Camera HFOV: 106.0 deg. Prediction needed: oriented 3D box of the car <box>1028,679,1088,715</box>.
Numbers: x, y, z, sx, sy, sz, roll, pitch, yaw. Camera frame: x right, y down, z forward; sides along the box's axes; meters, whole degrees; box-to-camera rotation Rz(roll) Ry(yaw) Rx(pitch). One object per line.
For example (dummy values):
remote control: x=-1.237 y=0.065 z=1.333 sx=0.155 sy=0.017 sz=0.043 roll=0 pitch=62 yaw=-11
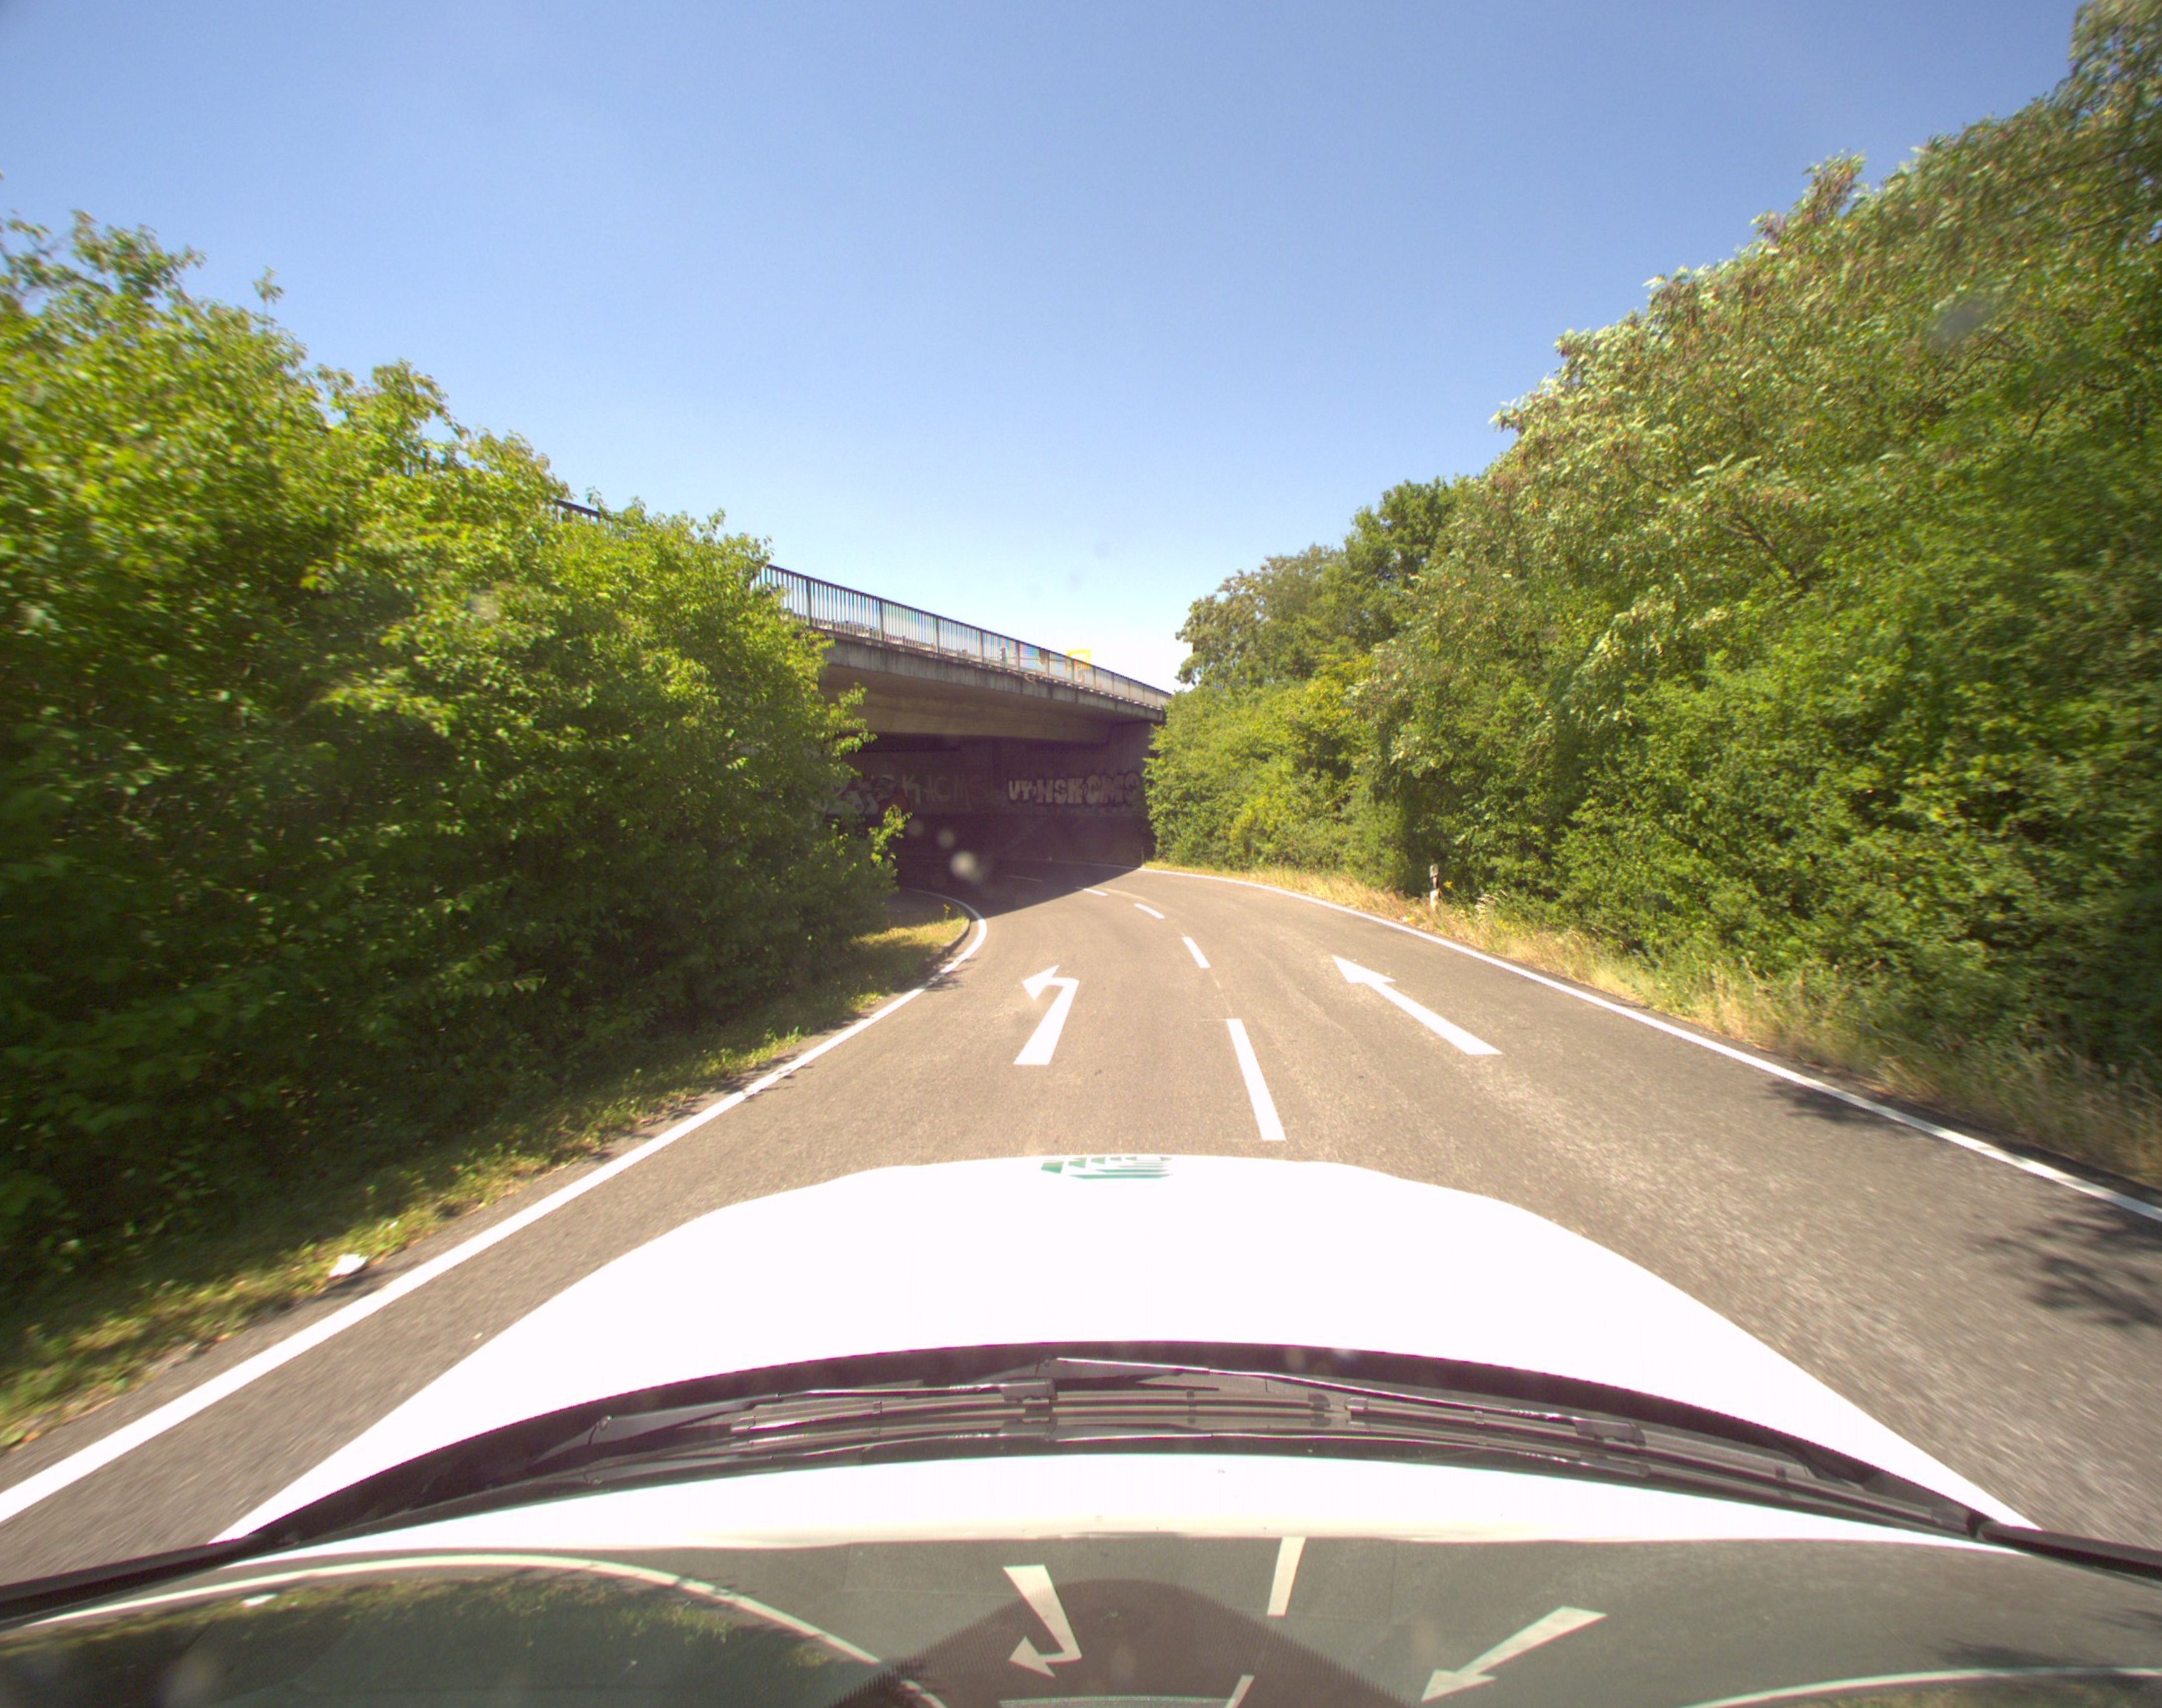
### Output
car: x=-0.997 y=-7.182 z=37.467 sx=1.598 sy=1.189 sz=3.497 roll=0 pitch=4 yaw=19
